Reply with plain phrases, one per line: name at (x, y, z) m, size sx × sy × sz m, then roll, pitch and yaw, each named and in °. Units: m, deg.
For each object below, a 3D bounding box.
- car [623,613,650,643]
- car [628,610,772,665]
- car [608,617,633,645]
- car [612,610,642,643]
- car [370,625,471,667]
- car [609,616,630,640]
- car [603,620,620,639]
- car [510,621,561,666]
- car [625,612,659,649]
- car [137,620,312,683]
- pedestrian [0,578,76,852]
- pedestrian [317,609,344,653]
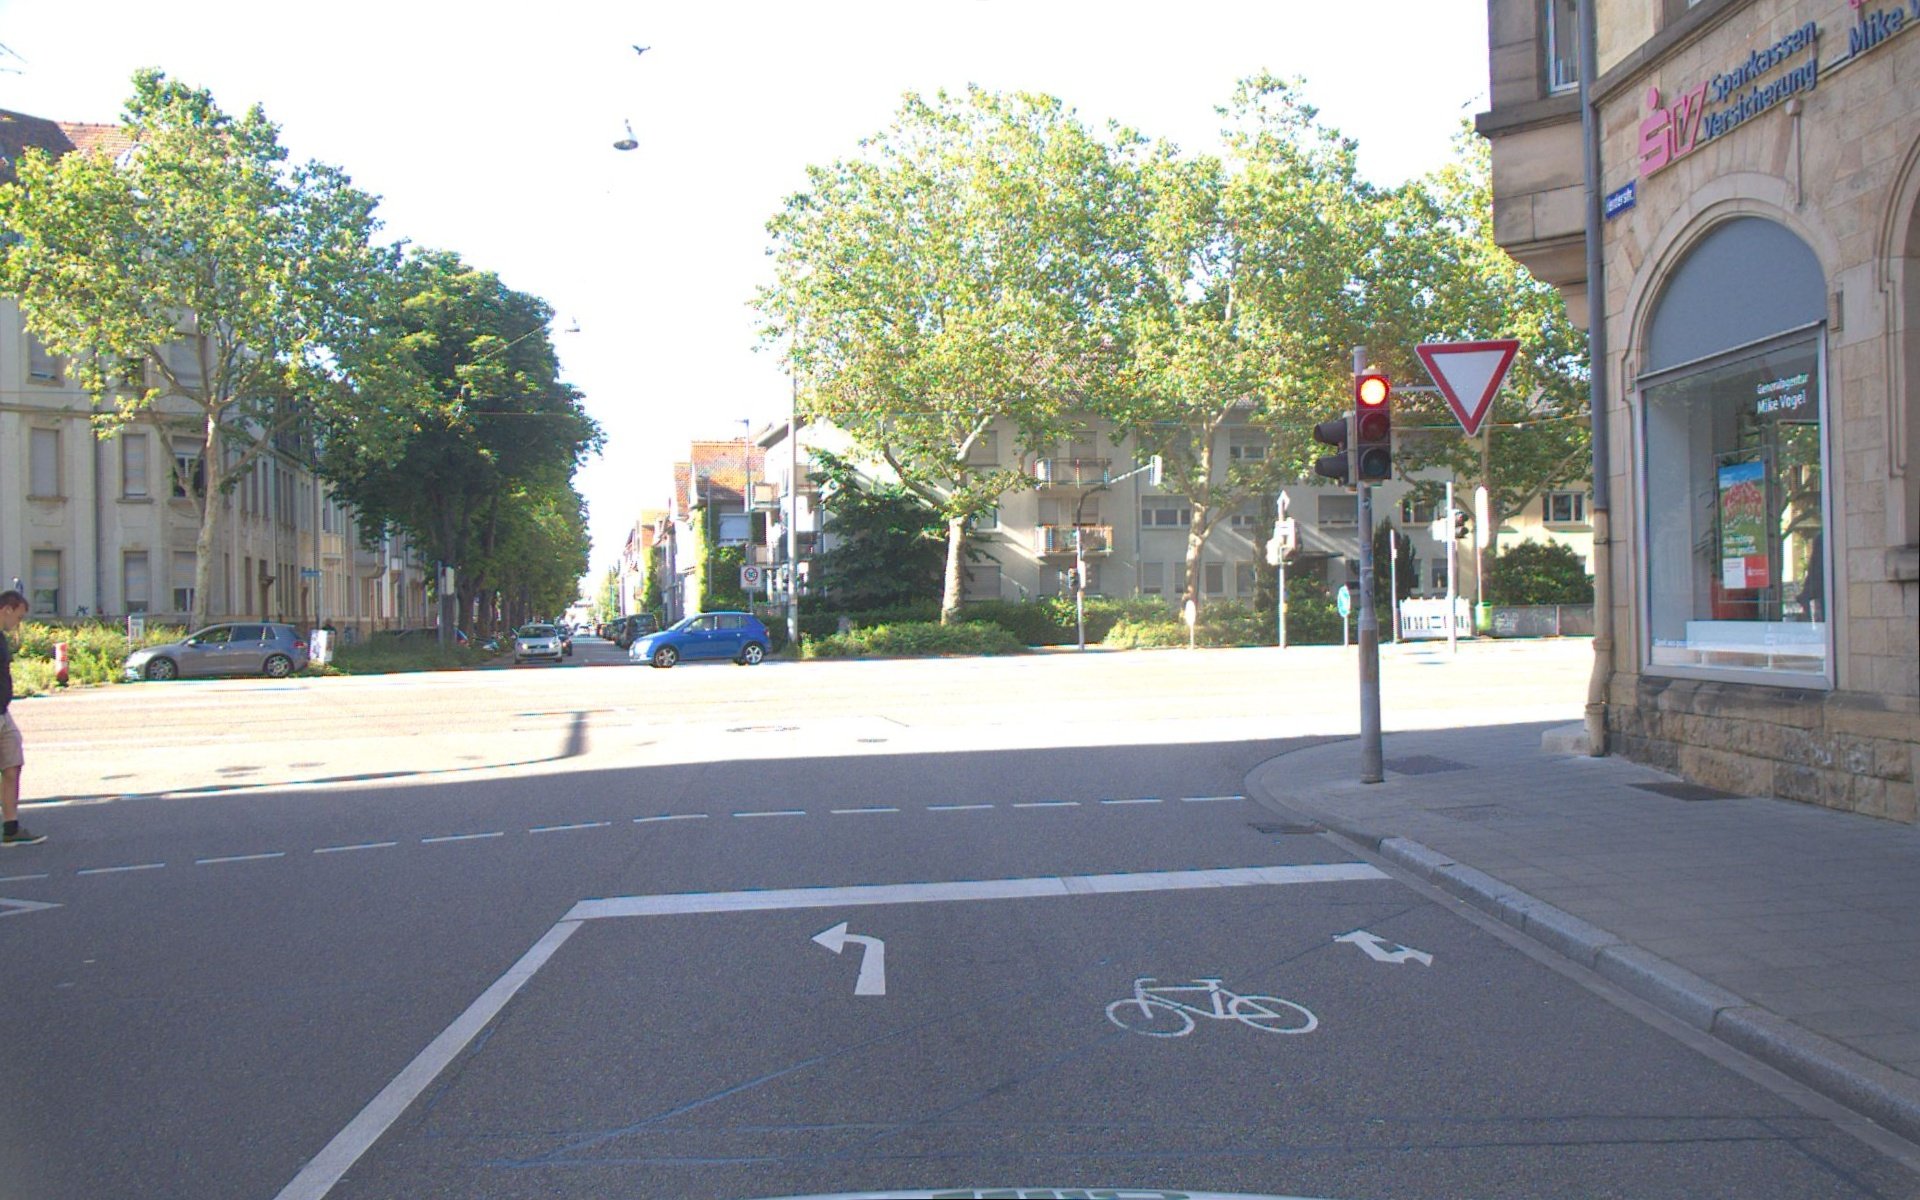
car at (-22.487, 1.916, 114.878) m, size 1.742 × 1.952 × 3.523 m, roll -3°, pitch 1°, yaw -12°
car at (-7.233, 1.014, 46.054) m, size 3.725 × 1.425 × 1.636 m, roll -1°, pitch 0°, yaw -20°
car at (-26.232, 2.370, 127.706) m, size 1.742 × 1.952 × 3.523 m, roll -3°, pitch 1°, yaw -12°
car at (-21.011, 1.645, 104.287) m, size 1.742 × 1.952 × 3.523 m, roll -3°, pitch 1°, yaw -12°
car at (-20.445, 1.736, 62.803) m, size 3.572 × 1.483 × 1.650 m, roll -1°, pitch 0°, yaw -16°
car at (-30.044, 2.434, 145.932) m, size 1.742 × 1.952 × 3.523 m, roll -3°, pitch 1°, yaw -12°
car at (-37.935, 3.233, 180.181) m, size 1.742 × 1.952 × 3.523 m, roll -3°, pitch 1°, yaw -12°
car at (-16.165, 1.635, 63.075) m, size 1.669 × 1.509 × 3.523 m, roll -3°, pitch 1°, yaw -12°
car at (-18.144, 1.716, 94.154) m, size 1.742 × 1.952 × 3.523 m, roll -3°, pitch 1°, yaw -12°
car at (-18.145, 1.250, 40.982) m, size 3.884 × 1.425 × 1.635 m, roll -1°, pitch 0°, yaw -22°
pedestrian at (-6.950, 0.785, 11.661) m, size 1.047 × 1.881 × 0.746 m, roll 1°, pitch -1°, yaw -13°
pedestrian at (-21.517, 1.050, 56.549) m, size 0.689 × 1.467 × 0.489 m, roll 1°, pitch -1°, yaw 26°
